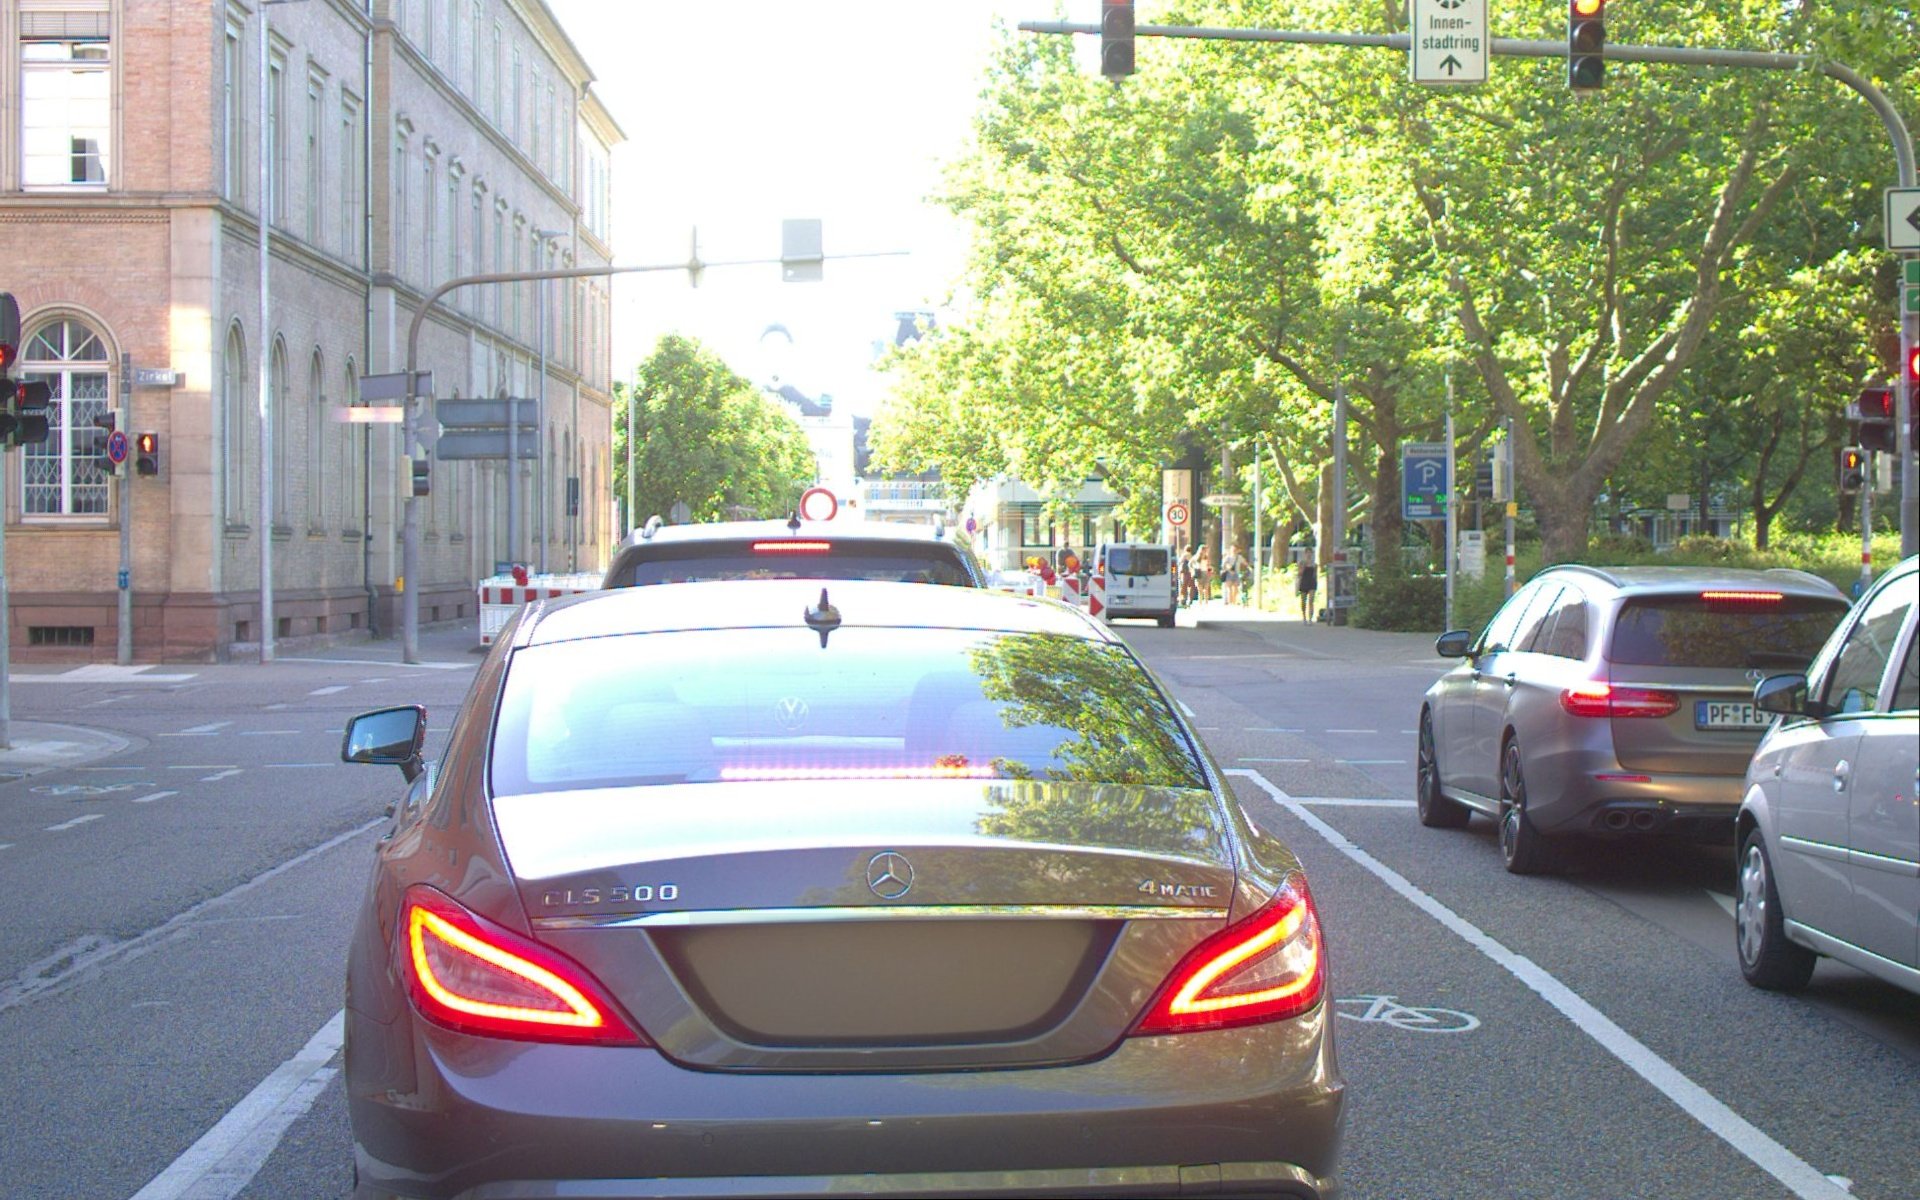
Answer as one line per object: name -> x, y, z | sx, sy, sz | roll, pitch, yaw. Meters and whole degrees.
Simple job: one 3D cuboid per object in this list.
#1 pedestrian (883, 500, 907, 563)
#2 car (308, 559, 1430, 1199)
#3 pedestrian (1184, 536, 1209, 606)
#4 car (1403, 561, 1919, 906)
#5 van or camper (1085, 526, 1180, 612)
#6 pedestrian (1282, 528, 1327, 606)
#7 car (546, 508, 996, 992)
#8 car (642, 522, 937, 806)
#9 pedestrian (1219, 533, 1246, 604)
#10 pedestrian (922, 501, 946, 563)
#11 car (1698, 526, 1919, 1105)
pedestrian -> -2.122, -2.227, 111.807 | 0.724, 2.007, 0.748 | 0, 1, -4
car -> -0.418, 0.652, 7.671 | 1.803, 1.451, 4.352 | 0, 1, -8
pedestrian -> 6.154, -0.763, 89.440 | 0.603, 1.815, 0.651 | 0, 1, -1
car -> 3.544, 0.564, 17.453 | 1.913, 1.459, 4.669 | 1, 1, -1
van or camper -> 4.009, -0.748, 80.511 | 1.993, 1.935, 4.594 | 0, 1, 0
pedestrian -> 7.133, -0.694, 71.190 | 0.830, 1.601, 0.651 | 1, 1, -1
car -> -0.734, 0.482, 13.679 | 1.517, 1.641, 3.881 | 1, 1, -3
car -> -1.078, 0.362, 23.254 | 1.820, 1.756, 4.000 | 0, 1, -1
pedestrian -> 7.074, -0.819, 89.282 | 0.603, 1.815, 0.651 | 1, 1, -1
pedestrian -> -0.845, -2.205, 111.447 | 0.724, 2.007, 0.748 | 0, 1, -4
car -> 3.531, 0.579, 10.706 | 1.701, 1.597, 3.859 | 0, 1, 1
